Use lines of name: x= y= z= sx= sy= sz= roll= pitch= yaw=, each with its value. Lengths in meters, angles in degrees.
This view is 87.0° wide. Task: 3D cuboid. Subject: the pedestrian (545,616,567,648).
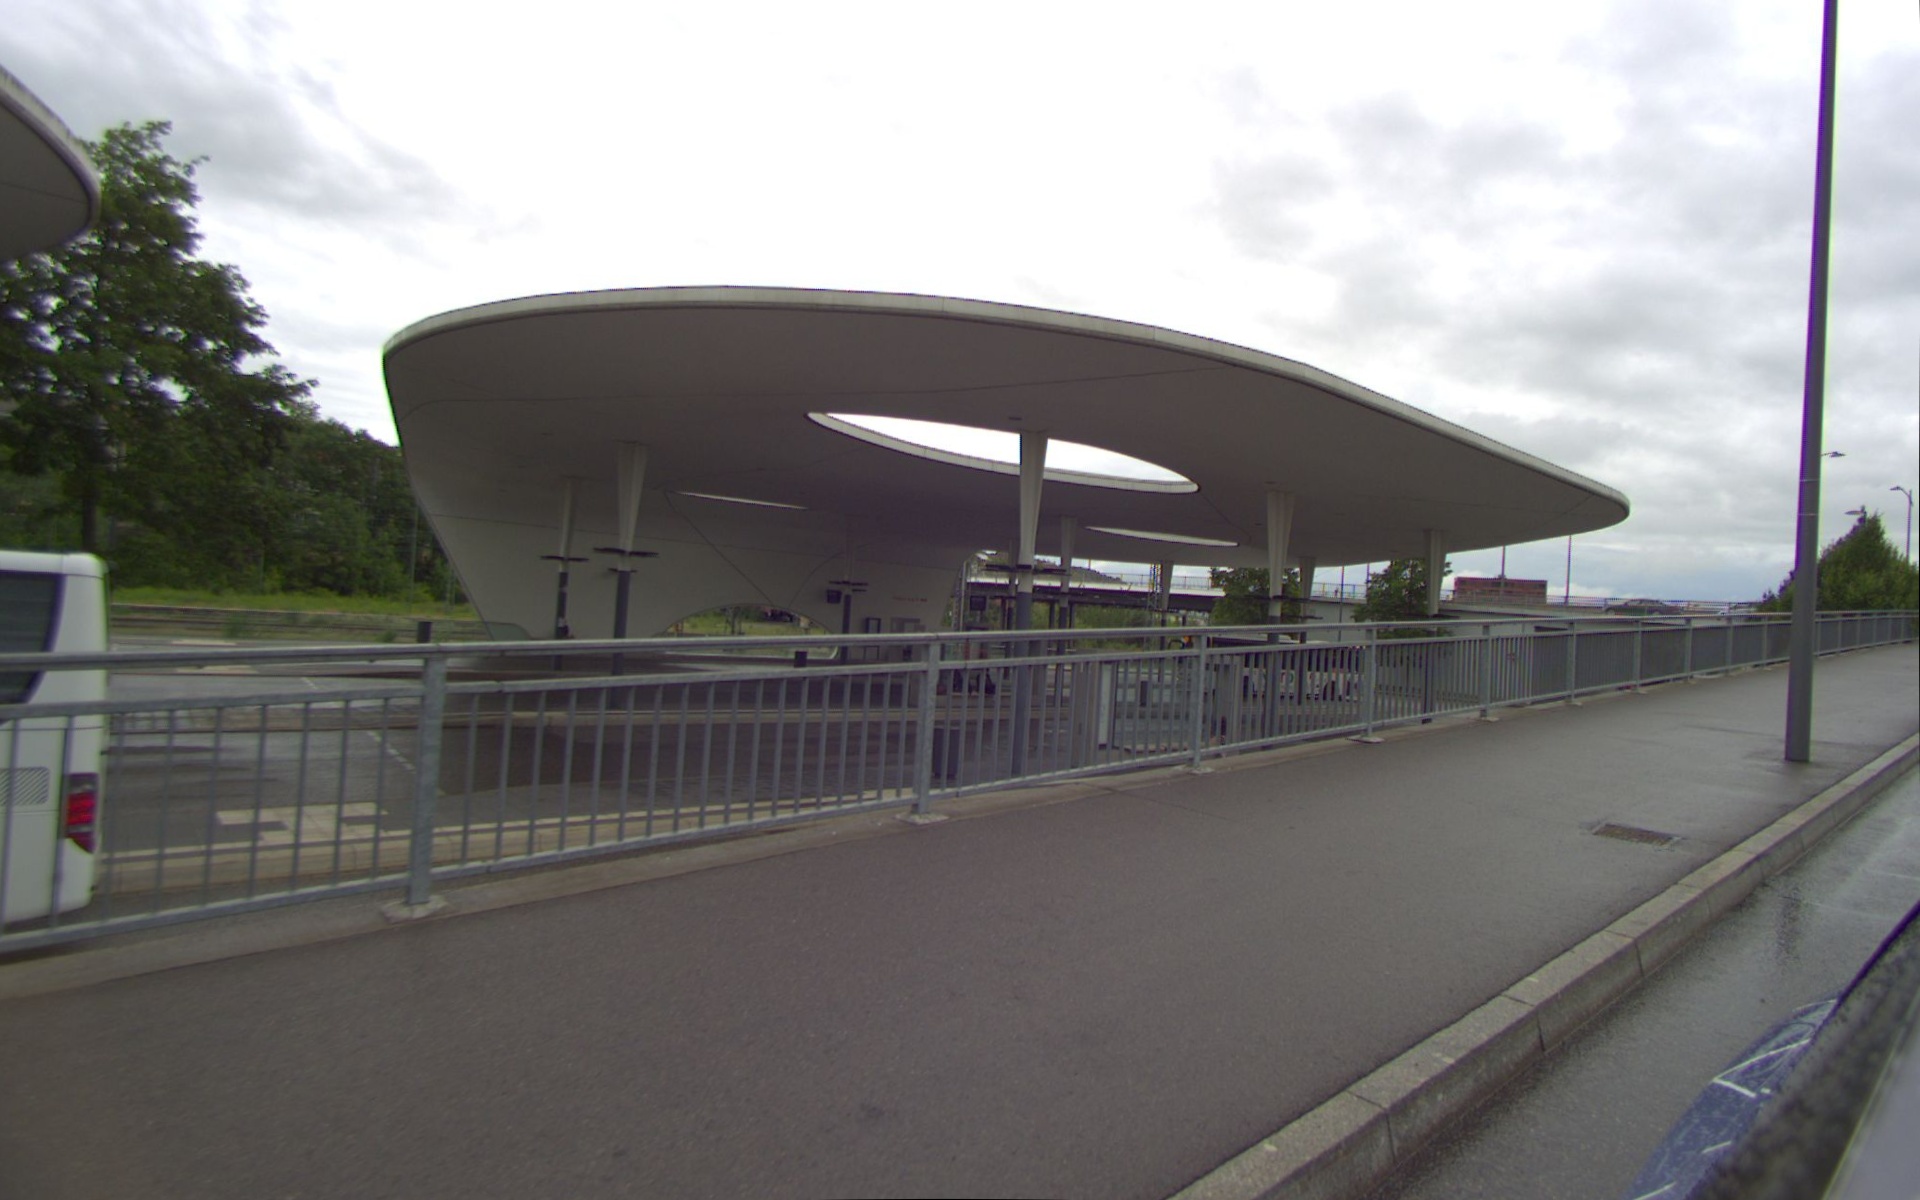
pedestrian: x=-17.556 y=1.372 z=43.974 sx=0.698 sy=1.341 sz=0.801 roll=0 pitch=-1 yaw=-35

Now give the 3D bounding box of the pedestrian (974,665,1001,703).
pedestrian: x=0.891 y=2.707 z=32.672 sx=0.658 sy=1.178 sz=0.535 roll=0 pitch=-1 yaw=-44

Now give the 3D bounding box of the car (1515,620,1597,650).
car: x=43.004 y=2.512 z=73.076 sx=2.078 sy=1.993 sz=4.675 roll=3 pitch=-1 yaw=-43

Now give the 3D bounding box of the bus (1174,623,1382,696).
bus: x=16.969 y=2.990 z=53.580 sx=11.893 sy=3.299 sz=2.801 roll=-1 pitch=0 yaw=-27

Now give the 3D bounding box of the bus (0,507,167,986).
bus: x=-11.749 y=0.688 z=4.873 sx=12.203 sy=3.406 sz=2.849 roll=5 pitch=-4 yaw=-41
